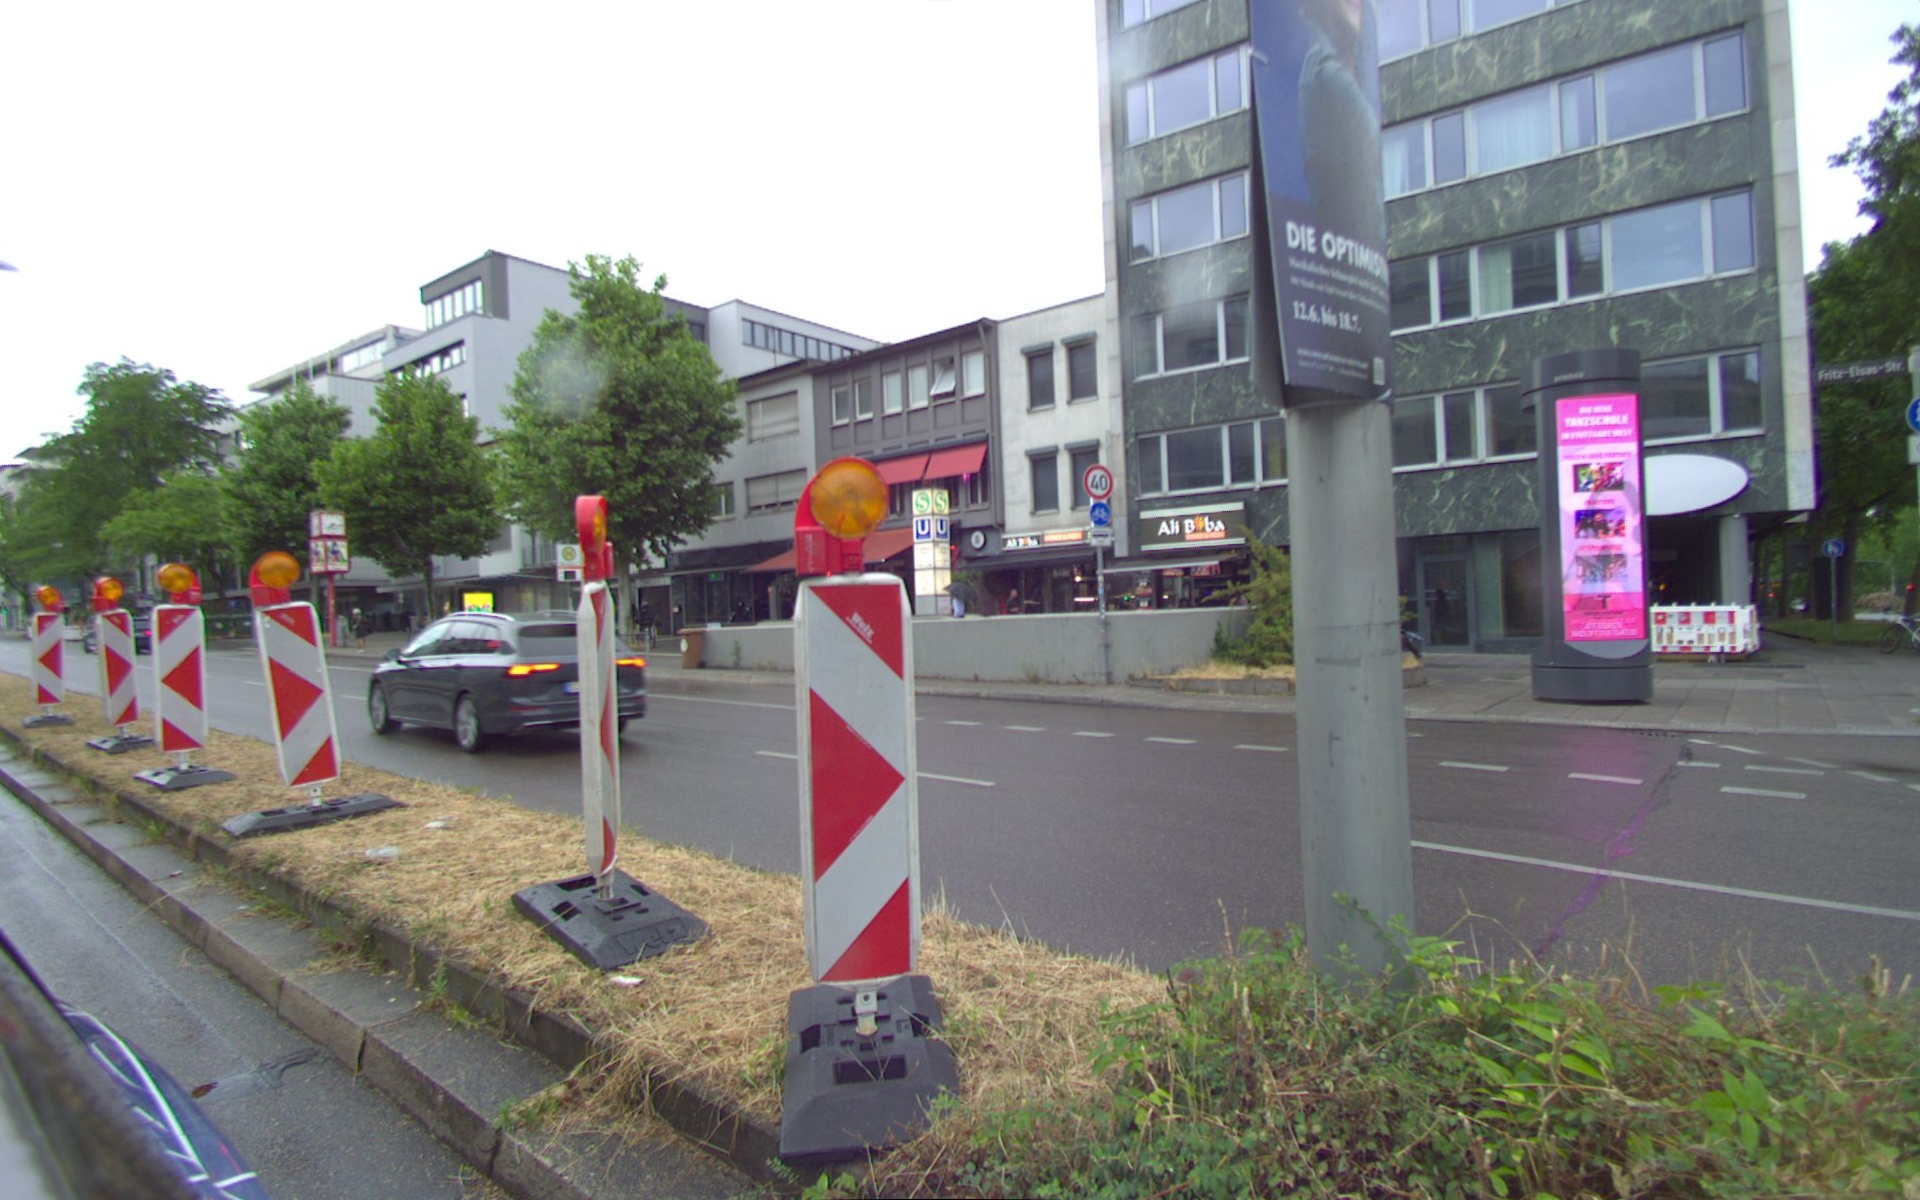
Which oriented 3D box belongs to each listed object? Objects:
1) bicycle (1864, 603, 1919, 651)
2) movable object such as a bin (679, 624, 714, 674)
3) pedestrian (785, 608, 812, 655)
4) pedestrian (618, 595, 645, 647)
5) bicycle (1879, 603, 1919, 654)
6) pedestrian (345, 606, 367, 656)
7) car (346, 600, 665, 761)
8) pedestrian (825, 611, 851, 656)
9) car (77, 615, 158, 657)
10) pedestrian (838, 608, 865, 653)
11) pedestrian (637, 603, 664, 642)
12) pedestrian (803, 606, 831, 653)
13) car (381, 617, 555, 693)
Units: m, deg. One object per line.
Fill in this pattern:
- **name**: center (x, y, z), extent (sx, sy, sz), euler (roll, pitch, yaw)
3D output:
- **bicycle**: center (21.254, 0.593, 22.392), extent (1.780, 1.060, 0.579), euler (-1, -1, 37)
- **movable object such as a bin**: center (-6.110, 1.129, 23.454), extent (0.660, 1.109, 0.501), euler (-1, 0, 39)
- **pedestrian**: center (-5.465, 1.064, 34.329), extent (0.611, 1.540, 0.660), euler (-2, -1, 44)
- **pedestrian**: center (-13.172, 0.831, 40.606), extent (0.764, 2.029, 0.768), euler (-1, 0, -41)
- **bicycle**: center (20.758, 0.598, 21.484), extent (1.780, 1.060, 0.579), euler (-1, -1, 37)
- **pedestrian**: center (-22.175, 1.128, 37.142), extent (0.567, 1.839, 0.581), euler (-1, 0, -43)
- **car**: center (-5.361, 0.811, 11.667), extent (4.288, 1.522, 1.670), euler (-2, -1, 40)
- **pedestrian**: center (-4.291, 1.160, 35.478), extent (0.611, 1.540, 0.660), euler (-2, -1, 44)
- **car**: center (-33.855, 1.402, 40.618), extent (4.415, 1.566, 1.671), euler (-1, 0, 39)
- **pedestrian**: center (-3.763, 1.042, 35.020), extent (0.611, 1.540, 0.660), euler (-2, -1, 44)
- **pedestrian**: center (-12.641, 0.907, 41.336), extent (0.764, 1.577, 0.768), euler (-1, 0, -41)
- **pedestrian**: center (-4.751, 0.971, 33.571), extent (0.611, 1.540, 0.660), euler (-2, -1, 44)
- **car**: center (-10.794, 1.131, 22.096), extent (4.206, 1.442, 1.672), euler (0, 0, 37)
